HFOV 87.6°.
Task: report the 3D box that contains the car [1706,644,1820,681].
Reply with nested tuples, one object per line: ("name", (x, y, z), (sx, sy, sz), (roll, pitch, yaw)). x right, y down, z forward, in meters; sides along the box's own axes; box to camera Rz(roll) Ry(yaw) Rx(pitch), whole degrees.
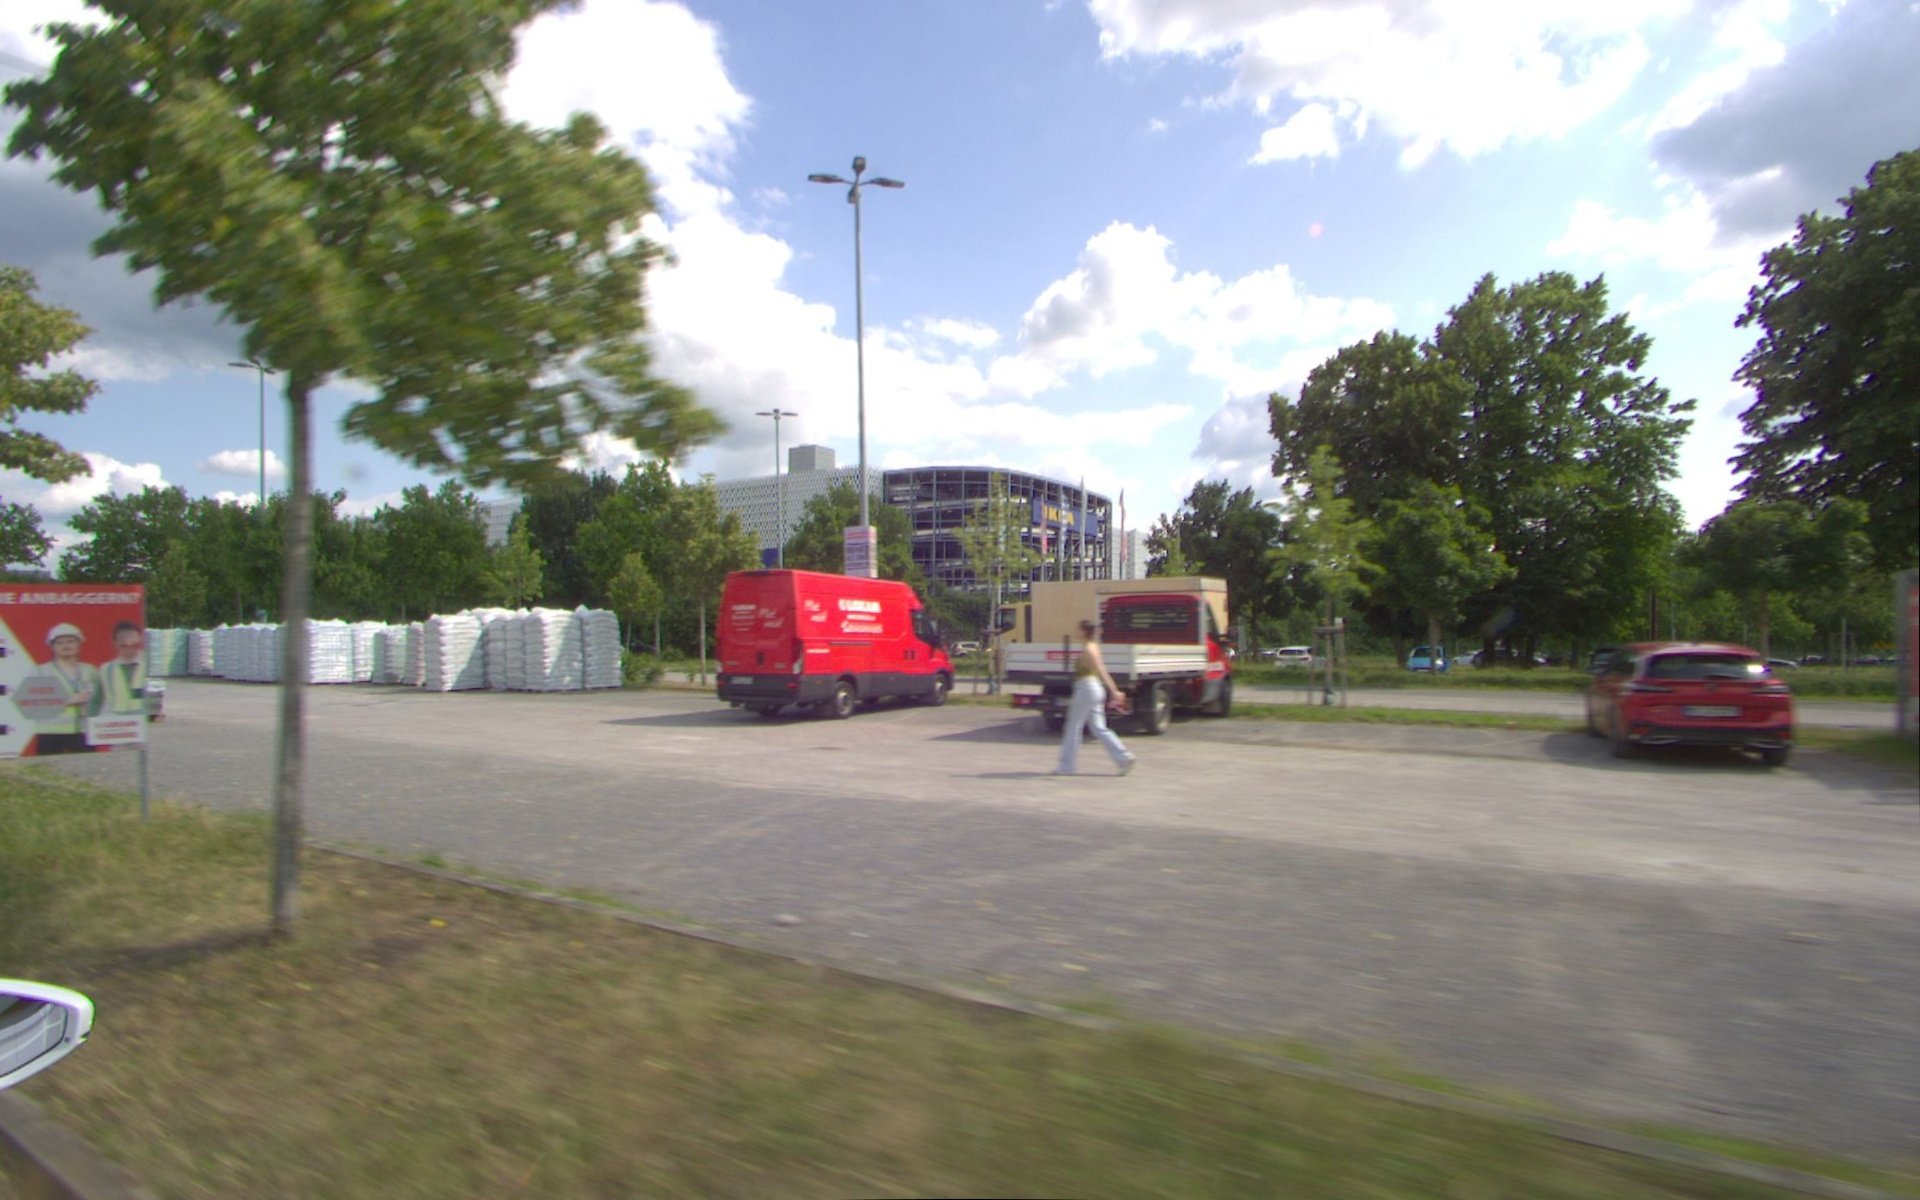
("car", (31.307, 2.451, 39.177), (3.319, 1.297, 1.685), (-5, -4, 36))

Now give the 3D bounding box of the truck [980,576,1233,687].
("truck", (5.180, 1.130, 36.623), (8.913, 3.645, 2.715), (-1, -1, 35))

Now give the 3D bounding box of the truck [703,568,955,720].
("truck", (-2.339, 0.829, 19.683), (2.085, 2.547, 5.422), (0, -2, 30))

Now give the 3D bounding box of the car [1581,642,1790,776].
("car", (9.373, 1.291, 13.255), (1.593, 1.432, 4.131), (-1, -2, 27))

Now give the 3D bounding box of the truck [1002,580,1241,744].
("truck", (2.995, 0.971, 17.055), (2.140, 2.284, 5.839), (-1, -2, 30))

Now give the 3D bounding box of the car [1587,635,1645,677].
("car", (27.326, 2.292, 41.675), (1.878, 1.677, 3.466), (-2, -2, 36))

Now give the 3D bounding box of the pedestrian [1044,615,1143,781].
("pedestrian", (1.437, 1.030, 10.813), (0.867, 1.713, 0.597), (-2, -2, 34))
